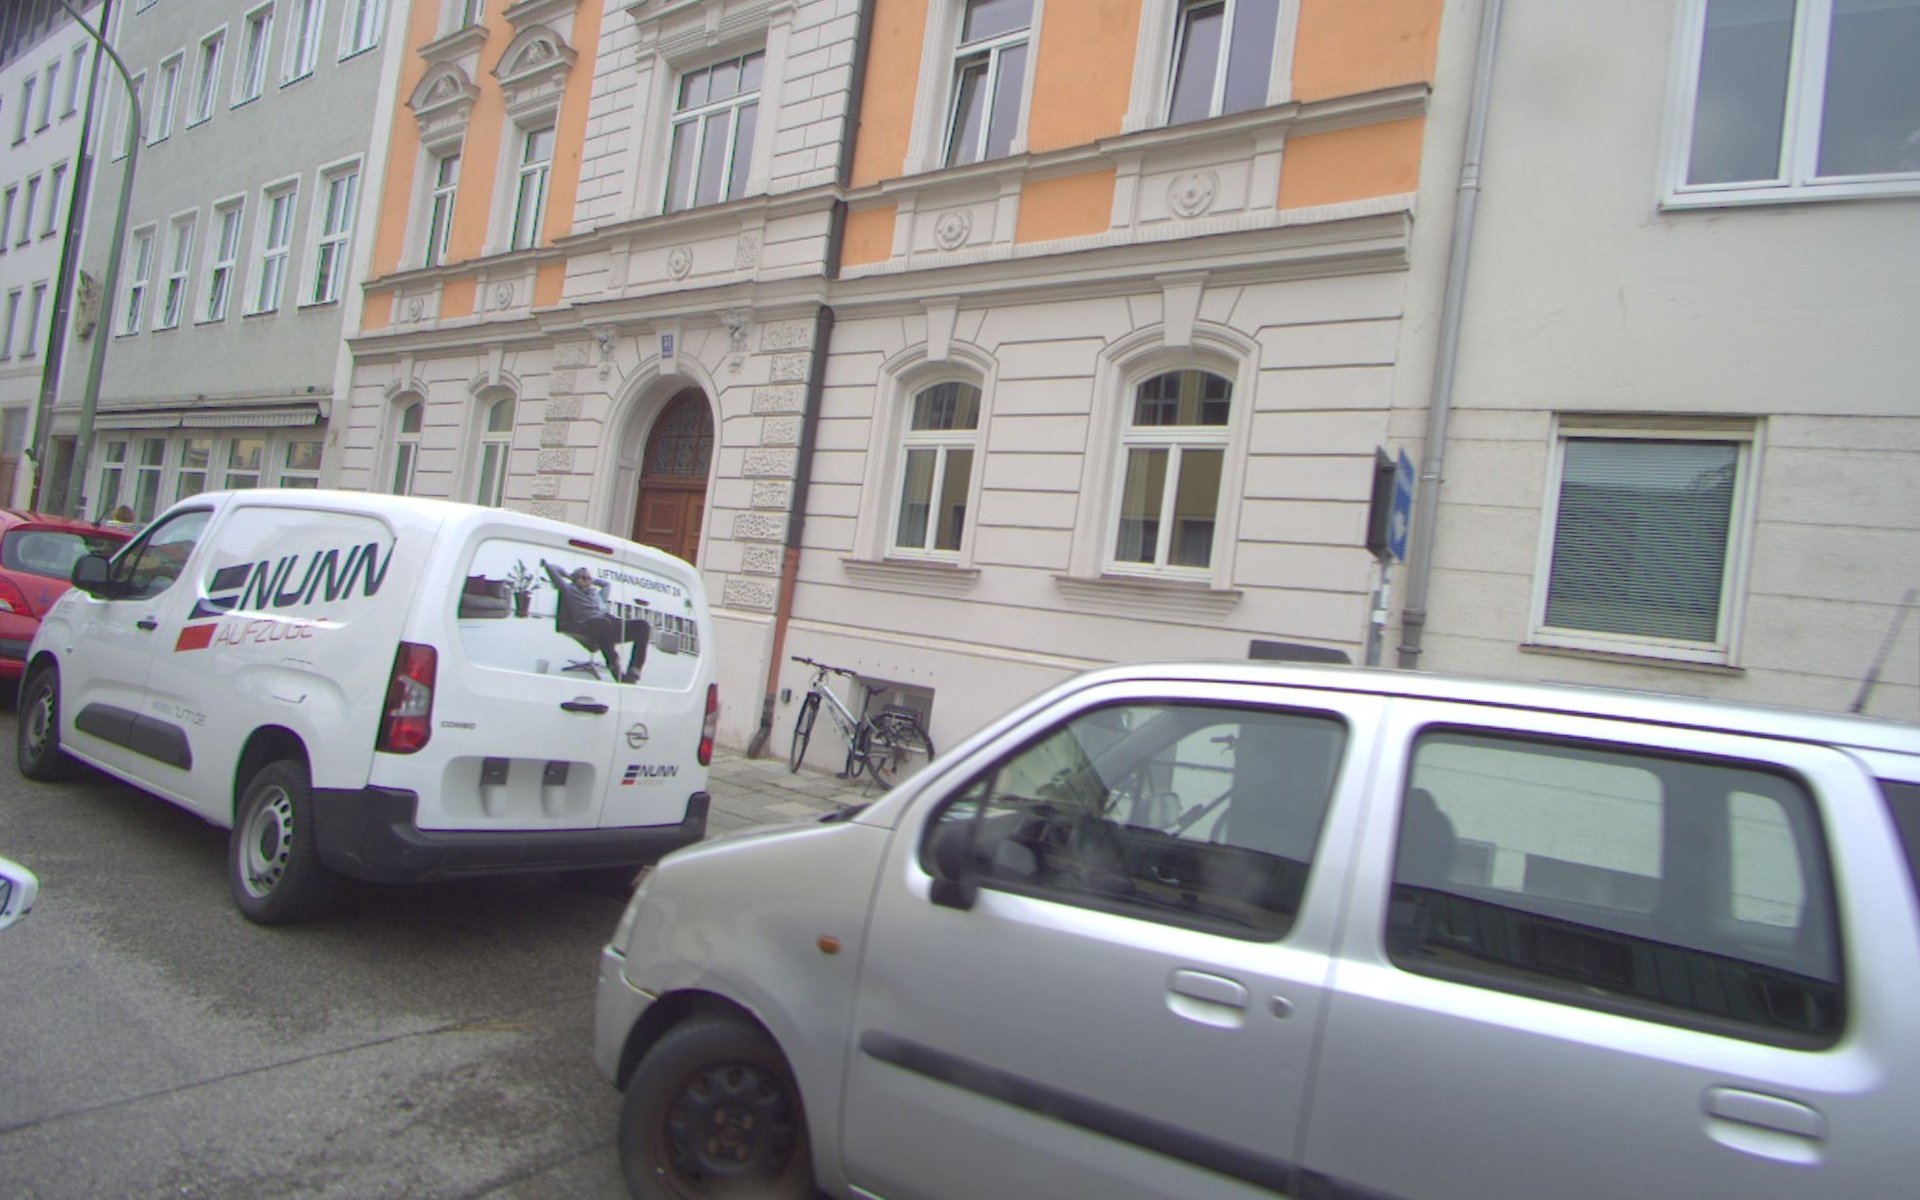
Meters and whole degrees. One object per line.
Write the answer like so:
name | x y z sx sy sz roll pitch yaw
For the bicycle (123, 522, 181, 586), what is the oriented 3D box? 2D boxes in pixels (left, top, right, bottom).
bicycle | -14.921 -0.856 18.563 1.497 1.016 0.331 7 1 34

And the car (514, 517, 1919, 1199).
car | 0.860 0.891 2.601 3.567 1.660 1.610 7 -3 27

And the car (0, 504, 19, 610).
car | -12.093 -0.563 10.972 4.018 1.466 1.696 7 -4 34

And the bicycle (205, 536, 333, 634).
bicycle | -9.608 -0.199 14.090 0.599 1.197 2.091 8 -1 -12

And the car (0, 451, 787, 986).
car | -3.493 0.343 5.660 4.816 1.804 1.845 7 -4 34

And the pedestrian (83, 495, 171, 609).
pedestrian | -12.980 -0.740 15.683 0.815 1.646 0.734 7 1 34

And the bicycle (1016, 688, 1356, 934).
bicycle | 1.440 1.284 6.513 1.921 1.134 0.669 7 -1 27

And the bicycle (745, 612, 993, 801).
bicycle | -0.821 0.851 8.599 2.062 1.198 0.651 9 2 36

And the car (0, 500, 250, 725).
car | -8.099 -0.064 8.595 4.230 1.465 1.604 7 -5 31
